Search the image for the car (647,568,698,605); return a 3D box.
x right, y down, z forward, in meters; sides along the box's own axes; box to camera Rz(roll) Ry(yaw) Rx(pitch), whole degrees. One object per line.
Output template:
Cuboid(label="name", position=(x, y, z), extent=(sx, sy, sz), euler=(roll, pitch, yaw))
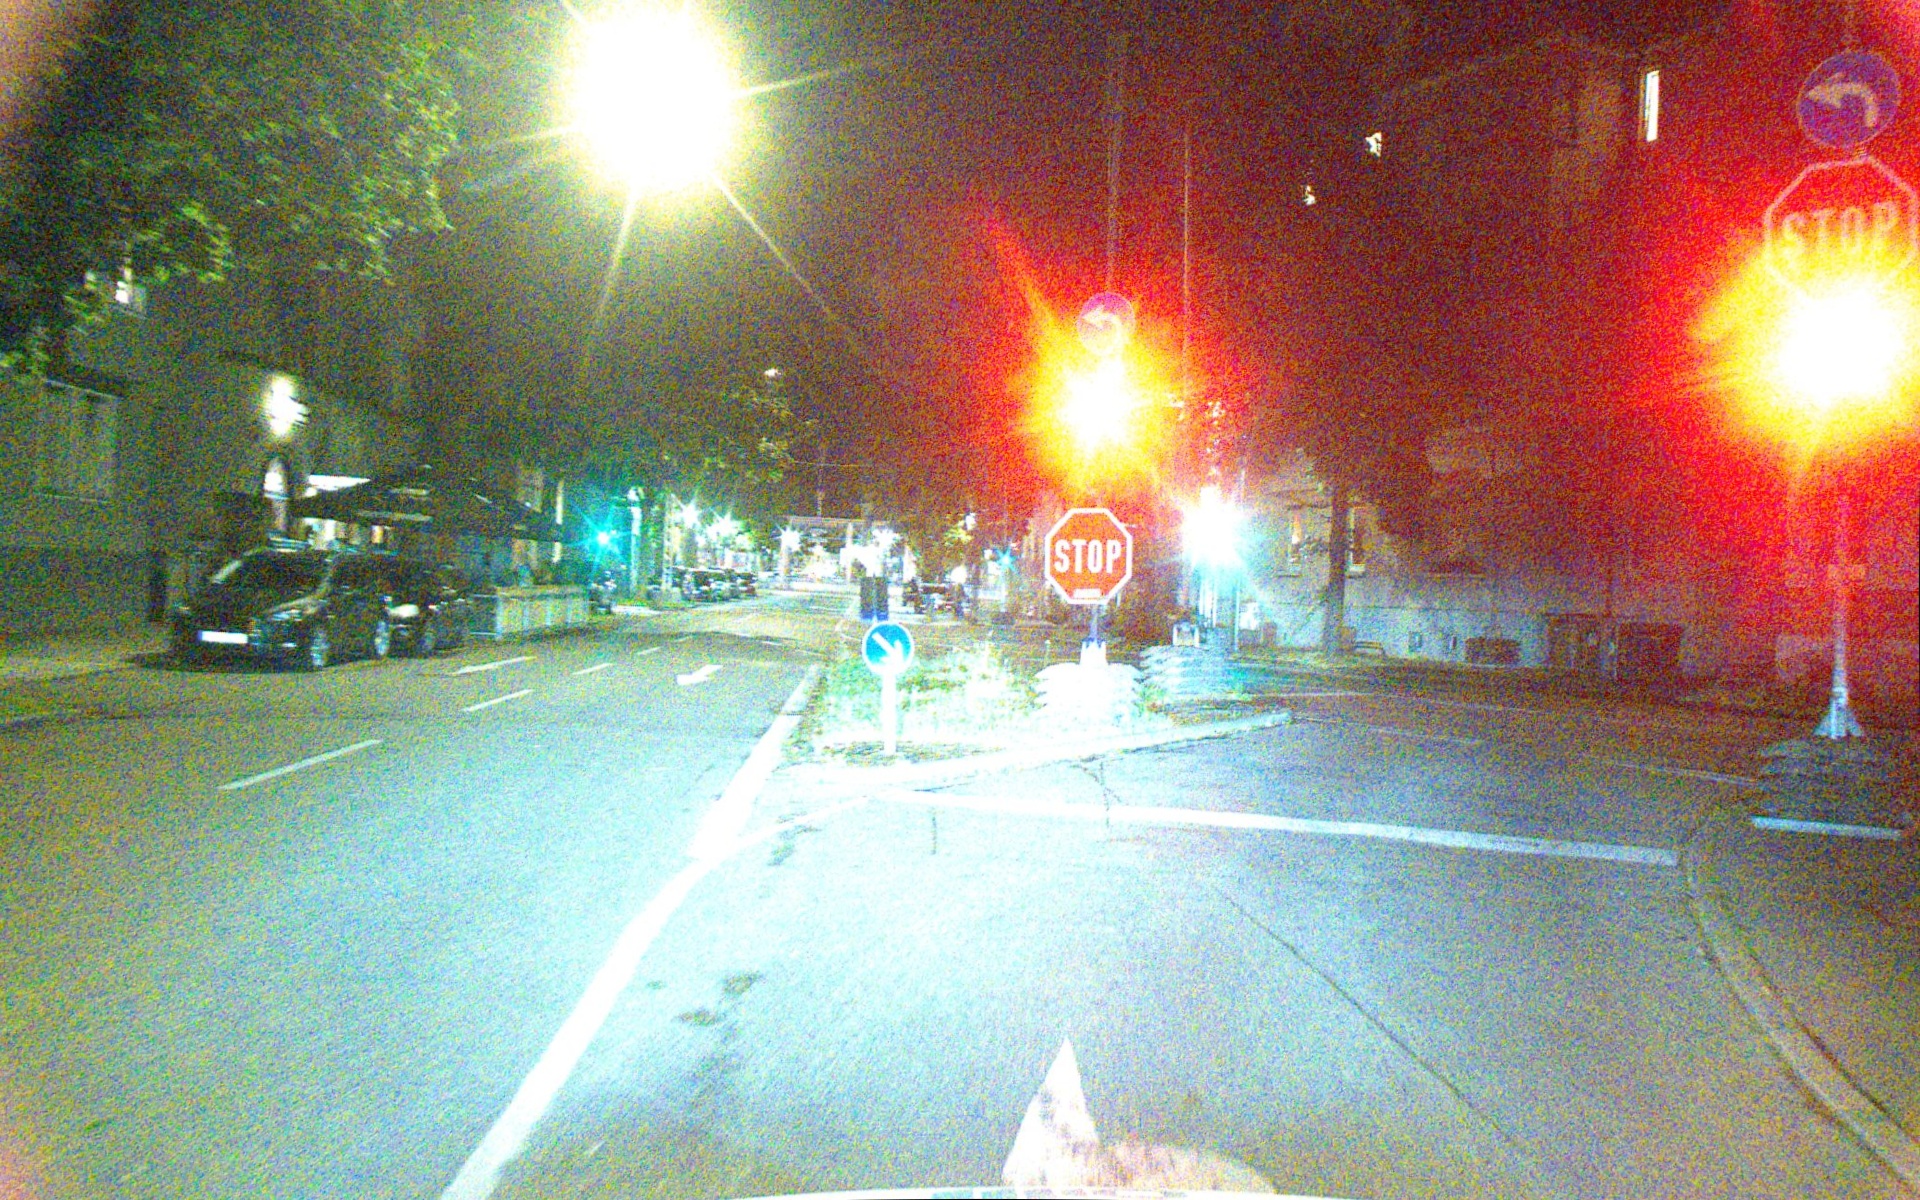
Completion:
Cuboid(label="car", position=(-12.084, -0.564, 69.619), extent=(1.618, 1.456, 3.998), euler=(2, 1, -3))

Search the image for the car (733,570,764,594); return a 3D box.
Cuboid(label="car", position=(-13.305, -1.146, 104.334), extent=(1.618, 1.456, 3.998), euler=(2, 1, -3))

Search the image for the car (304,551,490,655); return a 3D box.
Cuboid(label="car", position=(-9.123, 0.028, 27.171), extent=(1.768, 1.507, 4.320), euler=(2, 0, -4))

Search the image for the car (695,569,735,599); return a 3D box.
Cuboid(label="car", position=(-12.366, -0.820, 83.743), extent=(1.618, 1.456, 3.998), euler=(2, 1, -3))

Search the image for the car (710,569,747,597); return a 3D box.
Cuboid(label="car", position=(-12.657, -0.927, 90.620), extent=(1.618, 1.456, 3.998), euler=(2, 1, -3))

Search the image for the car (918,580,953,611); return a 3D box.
Cuboid(label="car", position=(-1.234, -0.224, 80.964), extent=(1.618, 1.456, 3.999), euler=(2, 1, -2))

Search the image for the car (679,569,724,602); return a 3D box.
Cuboid(label="car", position=(-12.123, -0.704, 77.740), extent=(1.618, 1.456, 3.998), euler=(2, 1, -3))

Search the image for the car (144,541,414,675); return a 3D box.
Cuboid(label="car", position=(-8.927, 0.081, 22.130), extent=(1.862, 1.497, 4.449), euler=(4, 0, -3))

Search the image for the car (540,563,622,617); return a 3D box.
Cuboid(label="car", position=(-11.026, -0.307, 48.325), extent=(1.618, 1.456, 3.998), euler=(2, 1, -3))
